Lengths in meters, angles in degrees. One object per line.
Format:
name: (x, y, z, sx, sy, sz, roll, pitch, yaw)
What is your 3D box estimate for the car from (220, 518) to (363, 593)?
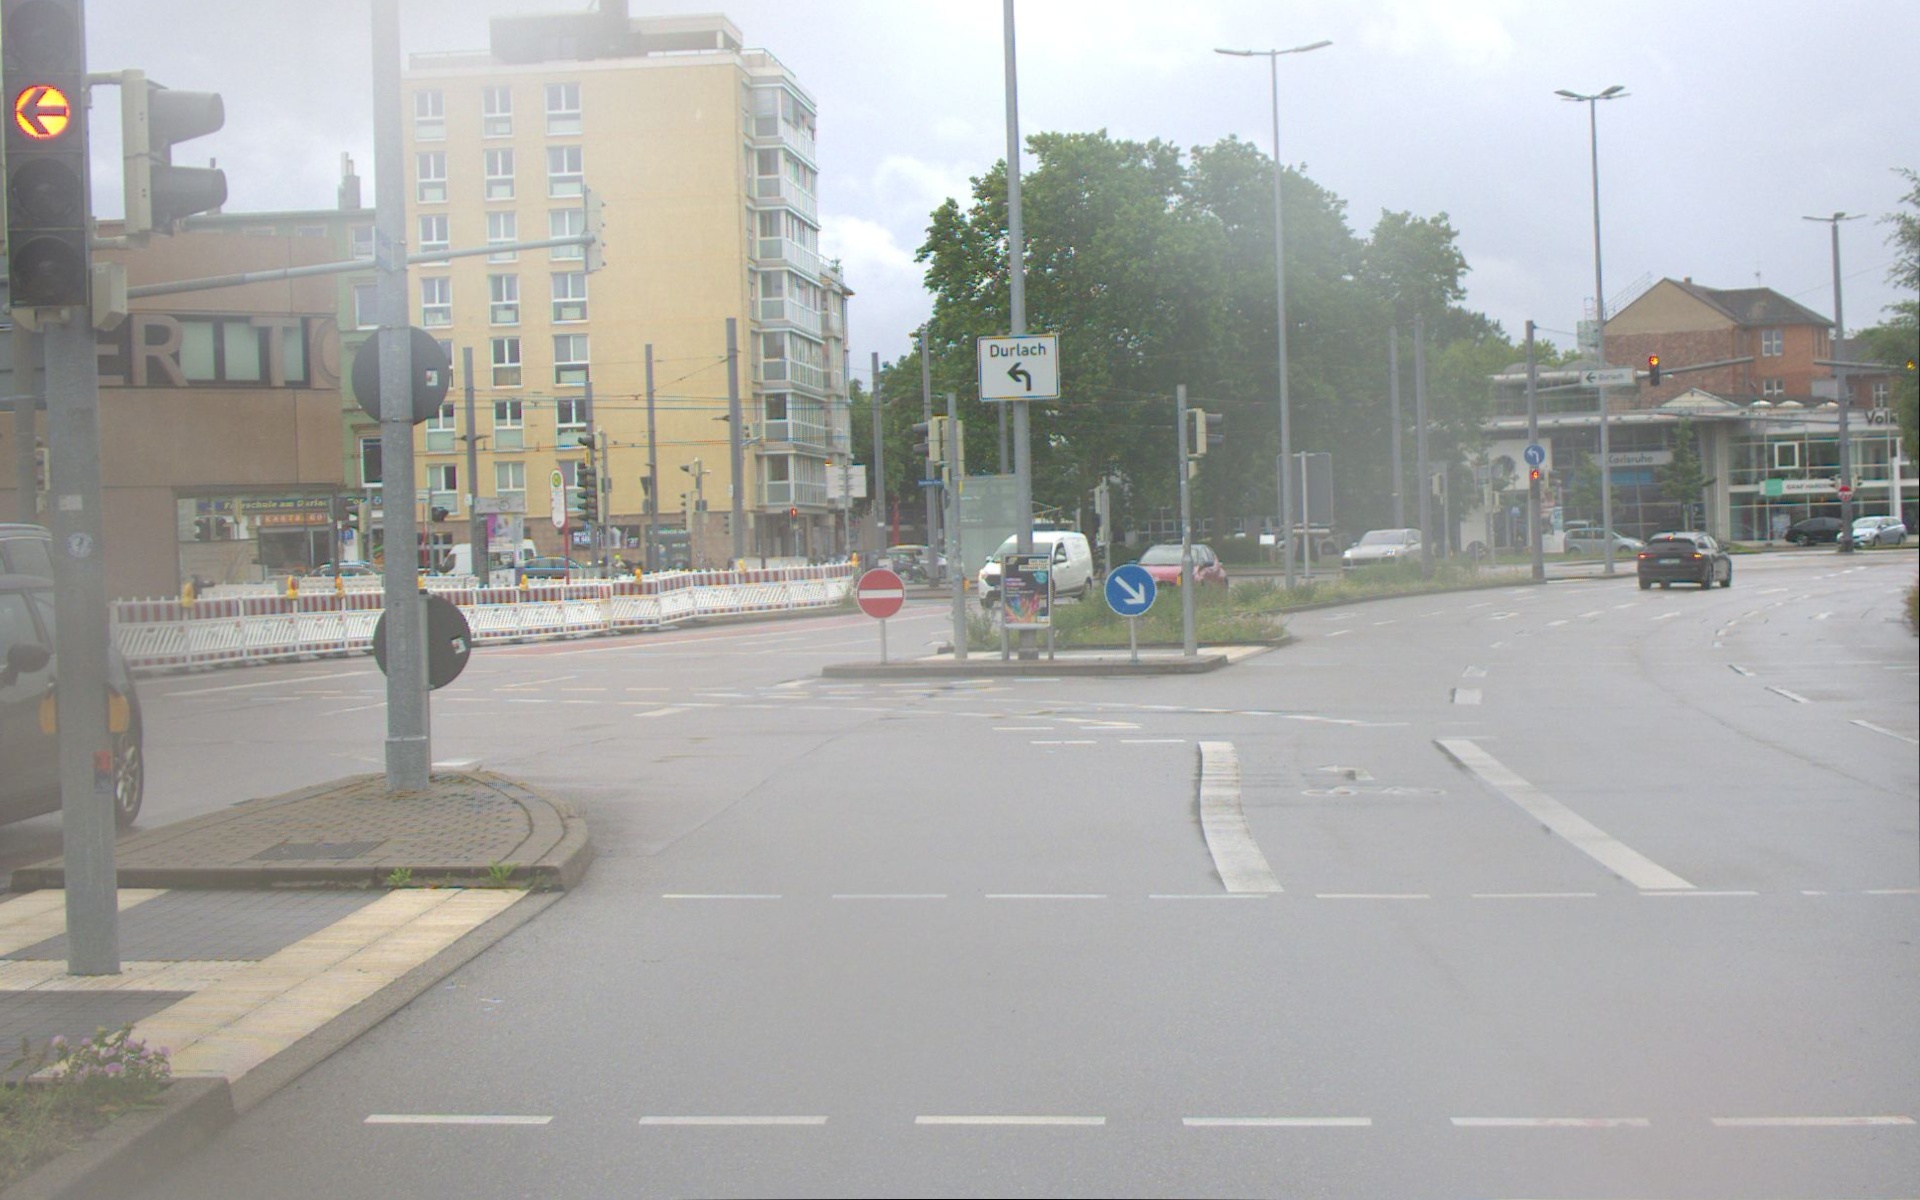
car: (-27.610, -1.852, 142.114, 5.351, 2.877, 2.339, -2, 1, 2)

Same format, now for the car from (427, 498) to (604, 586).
car: (-18.240, -2.411, 141.472, 6.742, 3.368, 2.809, -2, 1, 2)

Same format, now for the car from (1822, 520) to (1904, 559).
car: (40.653, -2.745, 154.790, 1.794, 1.637, 4.149, 0, 2, 43)

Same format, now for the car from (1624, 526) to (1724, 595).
car: (18.052, -1.022, 86.832, 1.792, 1.637, 4.155, -1, 1, 21)

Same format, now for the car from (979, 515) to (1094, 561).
car: (2.952, -2.390, 132.705, 4.382, 1.637, 1.796, -1, 1, 2)

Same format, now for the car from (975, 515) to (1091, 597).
car: (1.771, -1.071, 82.277, 1.791, 1.852, 4.156, -1, 1, 15)

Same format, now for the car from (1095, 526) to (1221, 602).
car: (4.549, -0.840, 78.384, 1.791, 1.637, 4.043, -1, 1, 19)

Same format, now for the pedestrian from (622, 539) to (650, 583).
pedestrian: (-13.682, -1.650, 145.369, 1.092, 1.807, 1.119, -2, 1, -4)

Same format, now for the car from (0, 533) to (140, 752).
car: (-8.193, 0.319, 27.889, 1.772, 1.673, 4.769, -2, 1, 2)

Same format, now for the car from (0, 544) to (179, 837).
car: (-5.585, 0.500, 17.894, 1.772, 1.371, 4.120, -4, 2, 4)

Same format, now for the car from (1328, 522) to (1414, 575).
car: (13.392, -1.686, 111.819, 1.792, 1.637, 4.155, -1, 1, 21)
